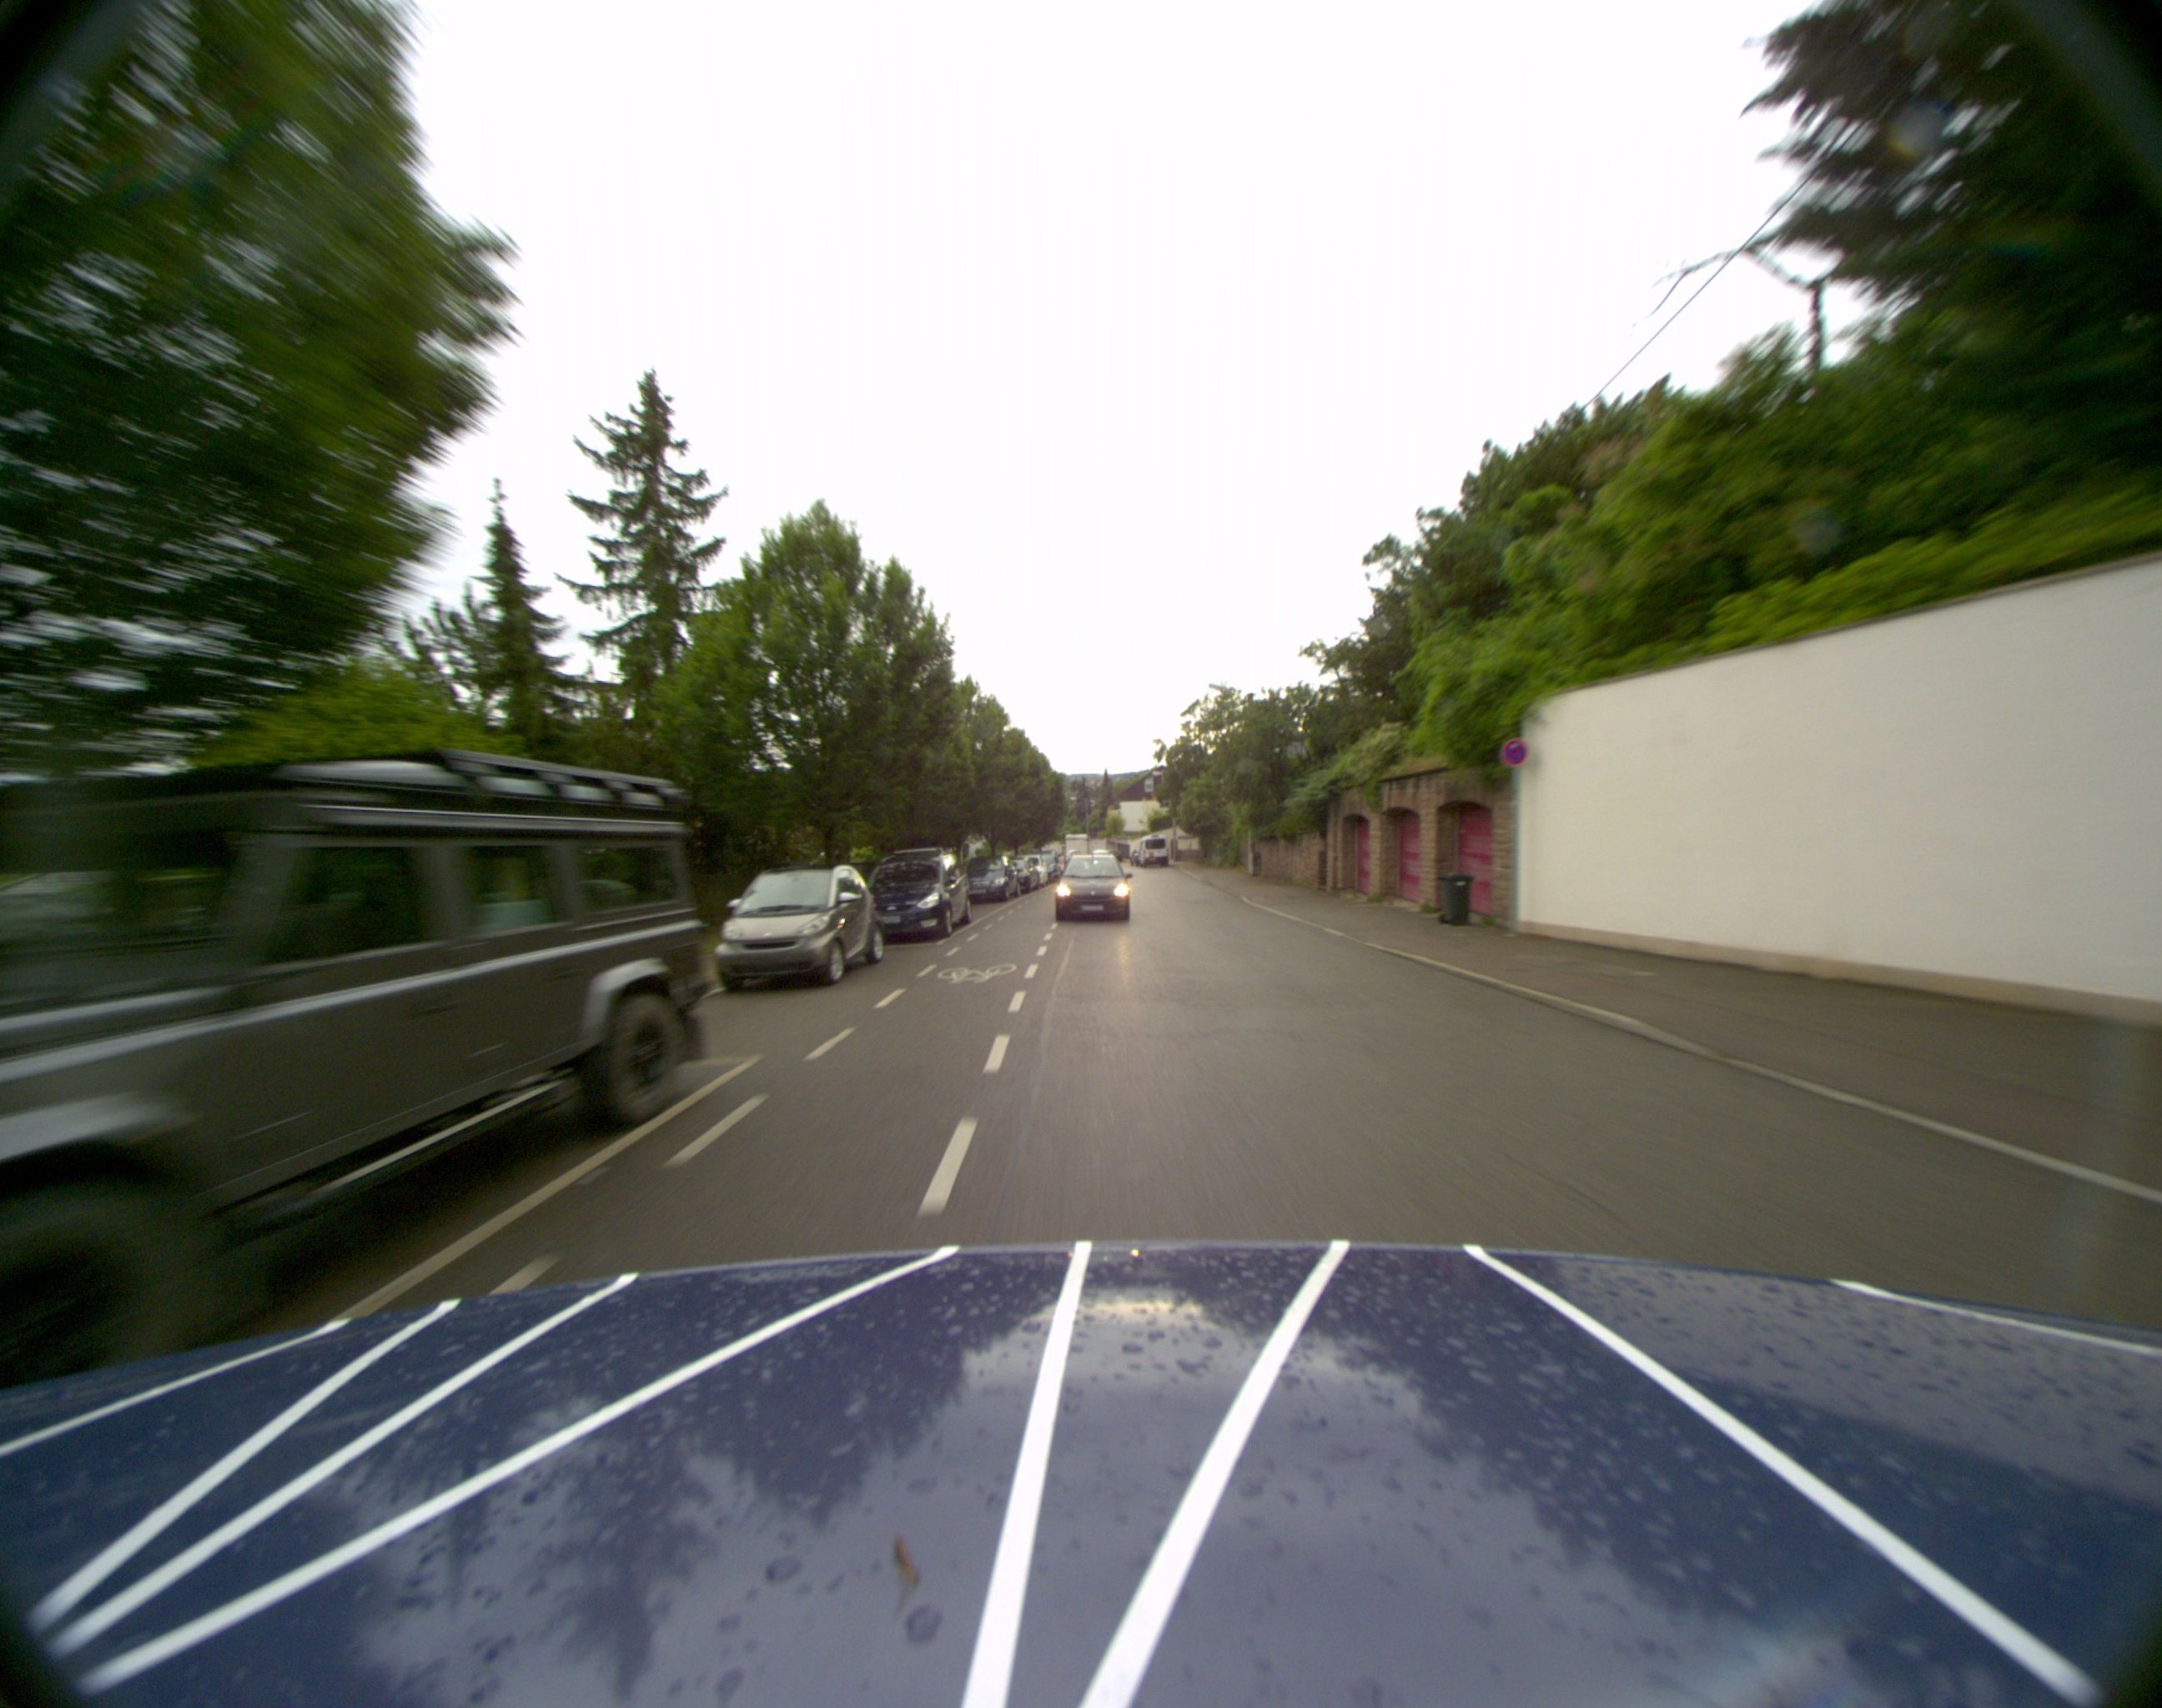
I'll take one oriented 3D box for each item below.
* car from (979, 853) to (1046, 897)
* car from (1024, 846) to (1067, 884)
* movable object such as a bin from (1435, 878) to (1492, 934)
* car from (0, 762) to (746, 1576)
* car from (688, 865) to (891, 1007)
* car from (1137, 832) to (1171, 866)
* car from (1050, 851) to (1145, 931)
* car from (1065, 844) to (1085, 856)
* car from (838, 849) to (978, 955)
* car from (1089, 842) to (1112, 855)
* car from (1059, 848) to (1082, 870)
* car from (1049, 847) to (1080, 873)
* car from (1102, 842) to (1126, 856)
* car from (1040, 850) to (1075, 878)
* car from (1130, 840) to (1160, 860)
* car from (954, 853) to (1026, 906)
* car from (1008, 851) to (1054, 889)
[{"bbox_3d":[-2.805,0.827,32.223,1.998,1.528,4.850,-5,1,4],"label":"car"},{"bbox_3d":[-1.932,0.557,42.670,1.782,1.841,4.425,-5,1,3],"label":"car"},{"bbox_3d":[6.845,0.922,13.619,0.660,0.914,0.677,-4,1,3],"label":"movable object such as a bin"},{"bbox_3d":[-3.773,0.826,3.565,1.999,2.040,5.120,-4,1,0],"label":"car"},{"bbox_3d":[-3.925,1.030,10.756,1.600,1.549,2.955,-4,1,1],"label":"car"},{"bbox_3d":[5.965,-0.450,62.494,2.099,2.535,6.096,-4,1,1],"label":"car"},{"bbox_3d":[0.478,0.737,17.274,1.892,1.521,4.057,-1,1,4],"label":"car"},{"bbox_3d":[-0.847,-0.508,106.428,1.633,1.507,3.826,-4,1,-17],"label":"car"},{"bbox_3d":[-3.417,0.838,15.977,1.785,1.773,4.678,-4,1,0],"label":"car"},{"bbox_3d":[2.435,-0.715,94.838,1.839,1.432,4.034,-4,2,-14],"label":"car"},{"bbox_3d":[-0.909,0.397,65.259,1.780,1.544,4.727,-6,1,-1],"label":"car"},{"bbox_3d":[-1.128,0.364,52.826,1.718,1.547,4.164,-6,1,3],"label":"car"},{"bbox_3d":[3.763,-0.563,88.028,1.718,1.451,4.677,-4,2,-11],"label":"car"},{"bbox_3d":[-1.432,0.607,47.645,1.652,1.473,4.020,-5,1,5],"label":"car"},{"bbox_3d":[5.865,-0.416,70.031,1.901,1.682,4.542,-4,1,-5],"label":"car"},{"bbox_3d":[-3.107,0.821,26.767,1.697,1.561,3.923,-4,1,4],"label":"car"},{"bbox_3d":[-2.378,0.751,37.163,1.788,1.600,4.223,-4,1,1],"label":"car"}]
